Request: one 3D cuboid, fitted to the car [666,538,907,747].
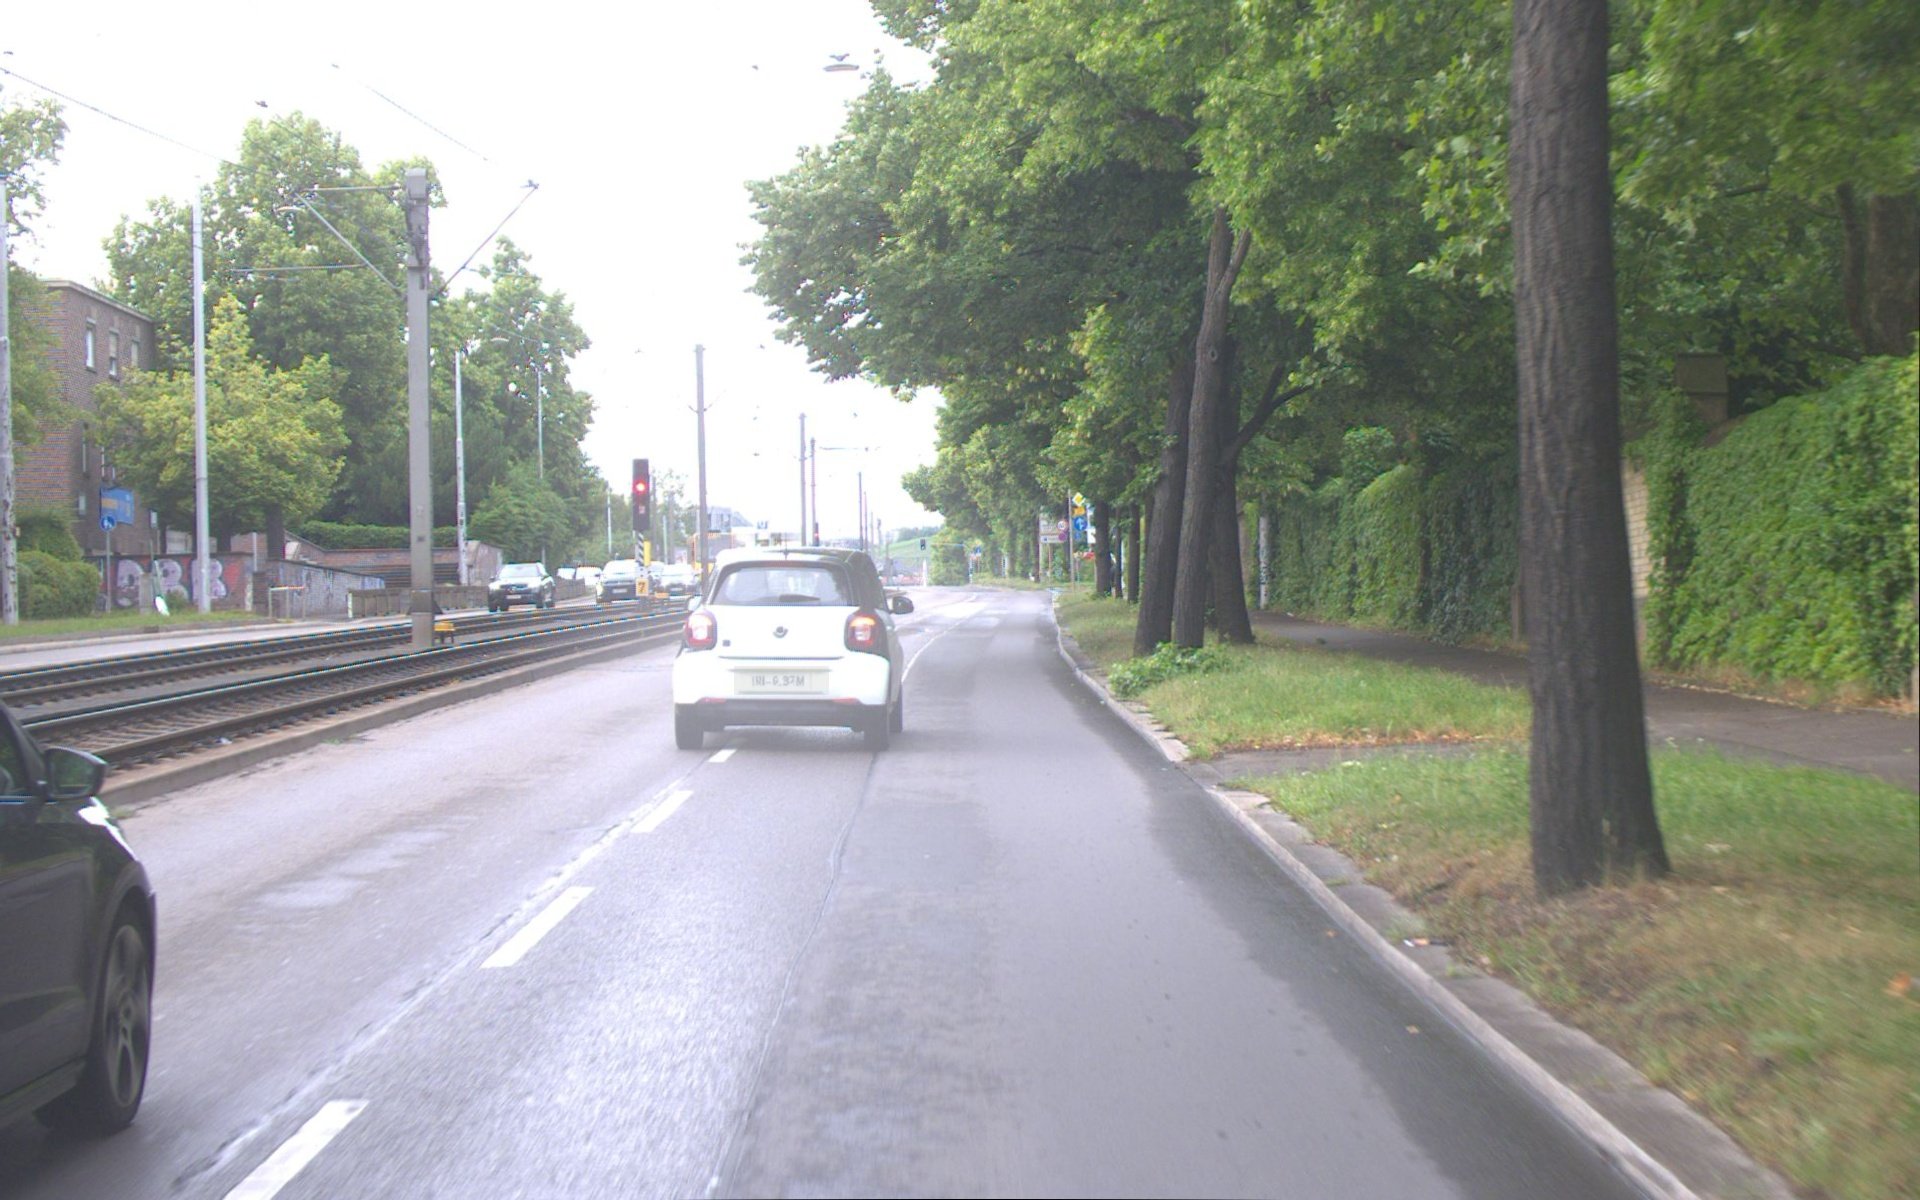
[{"bbox_3d":[-1.312,0.284,27.273,1.676,1.525,3.722,-1,1,0],"label":"car"}]

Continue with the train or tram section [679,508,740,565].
[{"bbox_3d":[-16.166,-4.072,221.262,2.831,3.593,9.273,0,1,-11],"label":"train or tram section"}]

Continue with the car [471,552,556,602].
[{"bbox_3d":[-15.307,-0.802,118.062,2.013,1.650,4.616,-1,1,4],"label":"car"}]

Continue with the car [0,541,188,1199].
[{"bbox_3d":[-2.991,0.618,7.525,1.794,1.480,3.965,1,1,-1],"label":"car"}]

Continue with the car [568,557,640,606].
[{"bbox_3d":[-12.570,-0.684,121.599,1.835,1.650,4.239,-1,1,4],"label":"car"}]
